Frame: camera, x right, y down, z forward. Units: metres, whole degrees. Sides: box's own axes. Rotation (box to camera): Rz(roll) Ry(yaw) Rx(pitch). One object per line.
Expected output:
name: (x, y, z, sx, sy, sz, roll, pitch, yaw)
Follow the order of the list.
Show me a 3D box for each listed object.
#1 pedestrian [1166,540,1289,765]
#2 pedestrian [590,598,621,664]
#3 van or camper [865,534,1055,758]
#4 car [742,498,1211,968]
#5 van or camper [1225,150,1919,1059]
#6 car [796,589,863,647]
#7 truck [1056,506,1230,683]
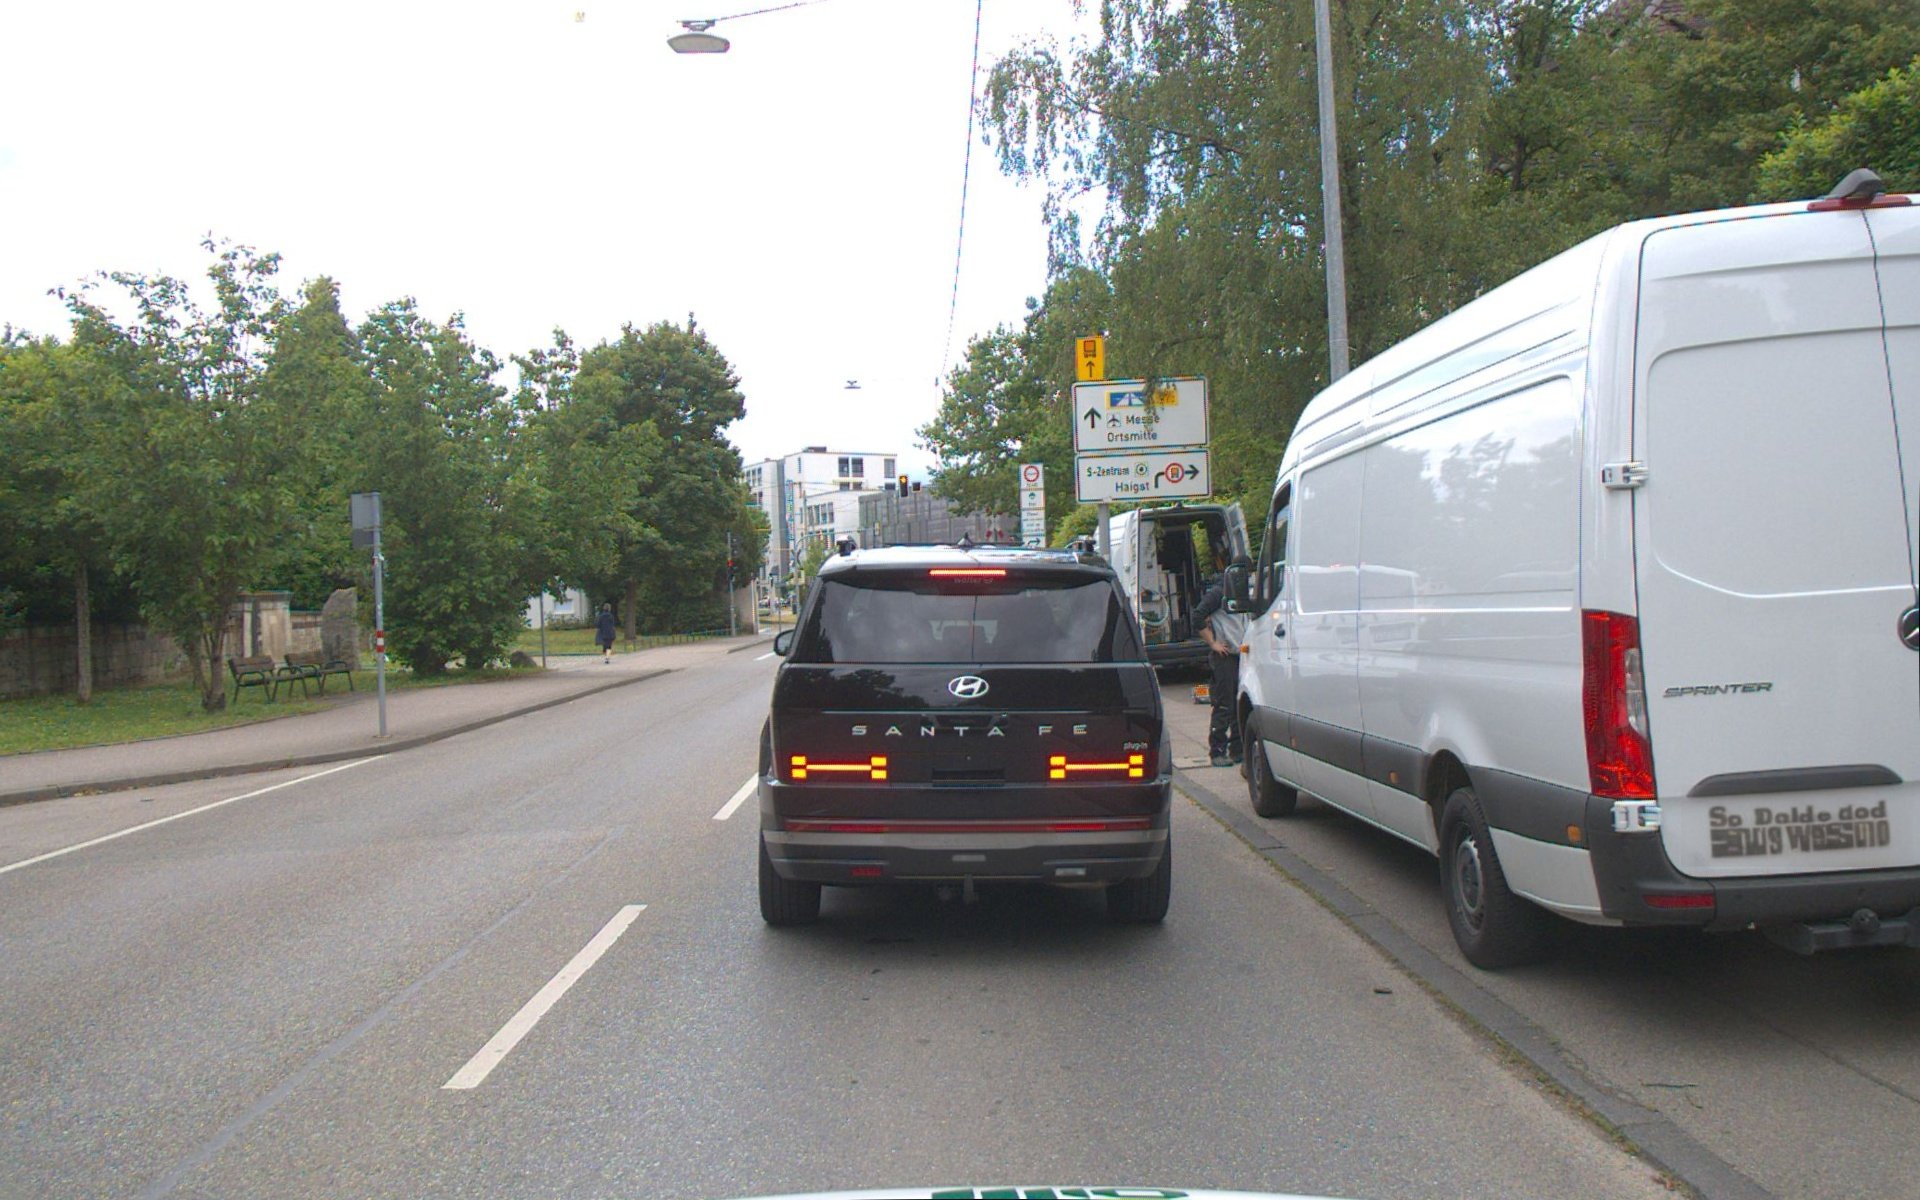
pedestrian: (2.247, 0.429, 13.968, 0.852, 1.828, 0.759, -2, 0, -2)
pedestrian: (-9.650, 0.840, 45.060, 0.724, 1.745, 0.791, -2, 0, -8)
van or camper: (-0.030, 0.423, 17.484, 1.719, 2.049, 3.999, -2, 0, -1)
car: (0.040, 0.516, 8.541, 1.851, 1.851, 3.999, 0, 0, -1)
van or camper: (2.892, -0.016, 8.180, 1.953, 2.665, 6.540, -2, 0, -1)
car: (-4.253, 0.556, 54.358, 1.822, 1.686, 4.305, -4, 0, -1)
truck: (2.970, -0.077, 28.011, 1.904, 2.606, 5.212, -3, 0, -4)
